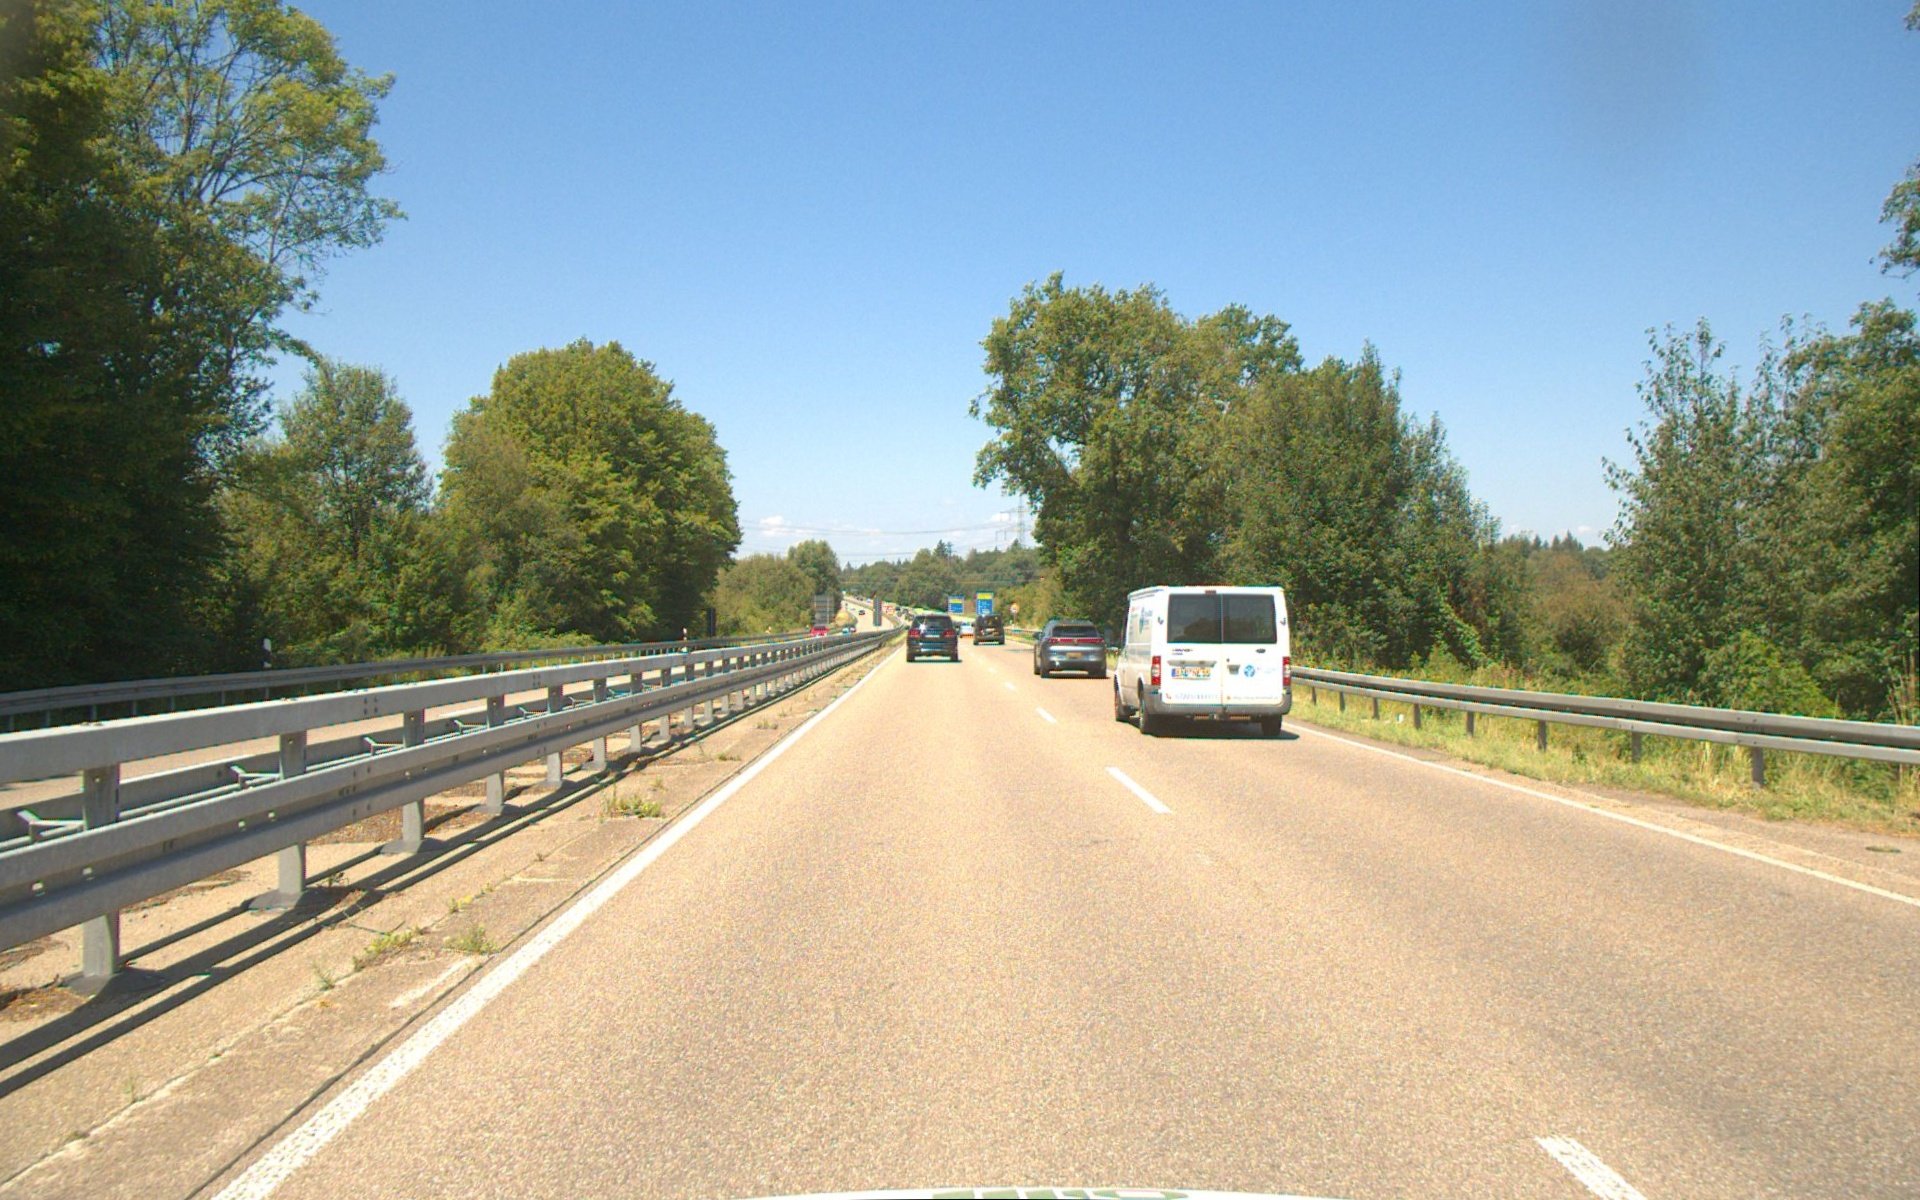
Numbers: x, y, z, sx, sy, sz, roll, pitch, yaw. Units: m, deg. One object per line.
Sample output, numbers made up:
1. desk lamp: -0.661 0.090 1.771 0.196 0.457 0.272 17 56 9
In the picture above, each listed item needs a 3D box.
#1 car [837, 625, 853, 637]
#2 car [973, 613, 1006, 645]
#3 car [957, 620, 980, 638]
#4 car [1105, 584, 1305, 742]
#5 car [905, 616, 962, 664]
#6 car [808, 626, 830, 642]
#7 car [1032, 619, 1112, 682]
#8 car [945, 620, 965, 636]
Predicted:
1. car: -14.782 4.028 212.133 1.761 1.494 3.772 0 -1 0
2. car: 1.764 1.714 99.660 1.744 1.848 4.211 -1 0 -1
3. car: 0.731 2.559 146.388 1.743 1.505 4.312 1 -1 -3
4. car: 3.378 0.857 23.821 1.965 2.024 5.032 0 -1 -2
5. car: -1.023 1.459 61.230 1.954 1.684 3.997 1 -1 -3
6. car: -13.156 3.138 154.025 1.740 1.444 4.573 -1 -1 -2
7. car: 3.020 1.347 45.408 1.749 1.580 4.017 -1 0 -2
8. car: -0.496 2.727 160.759 1.783 1.439 3.998 -2 0 -2
